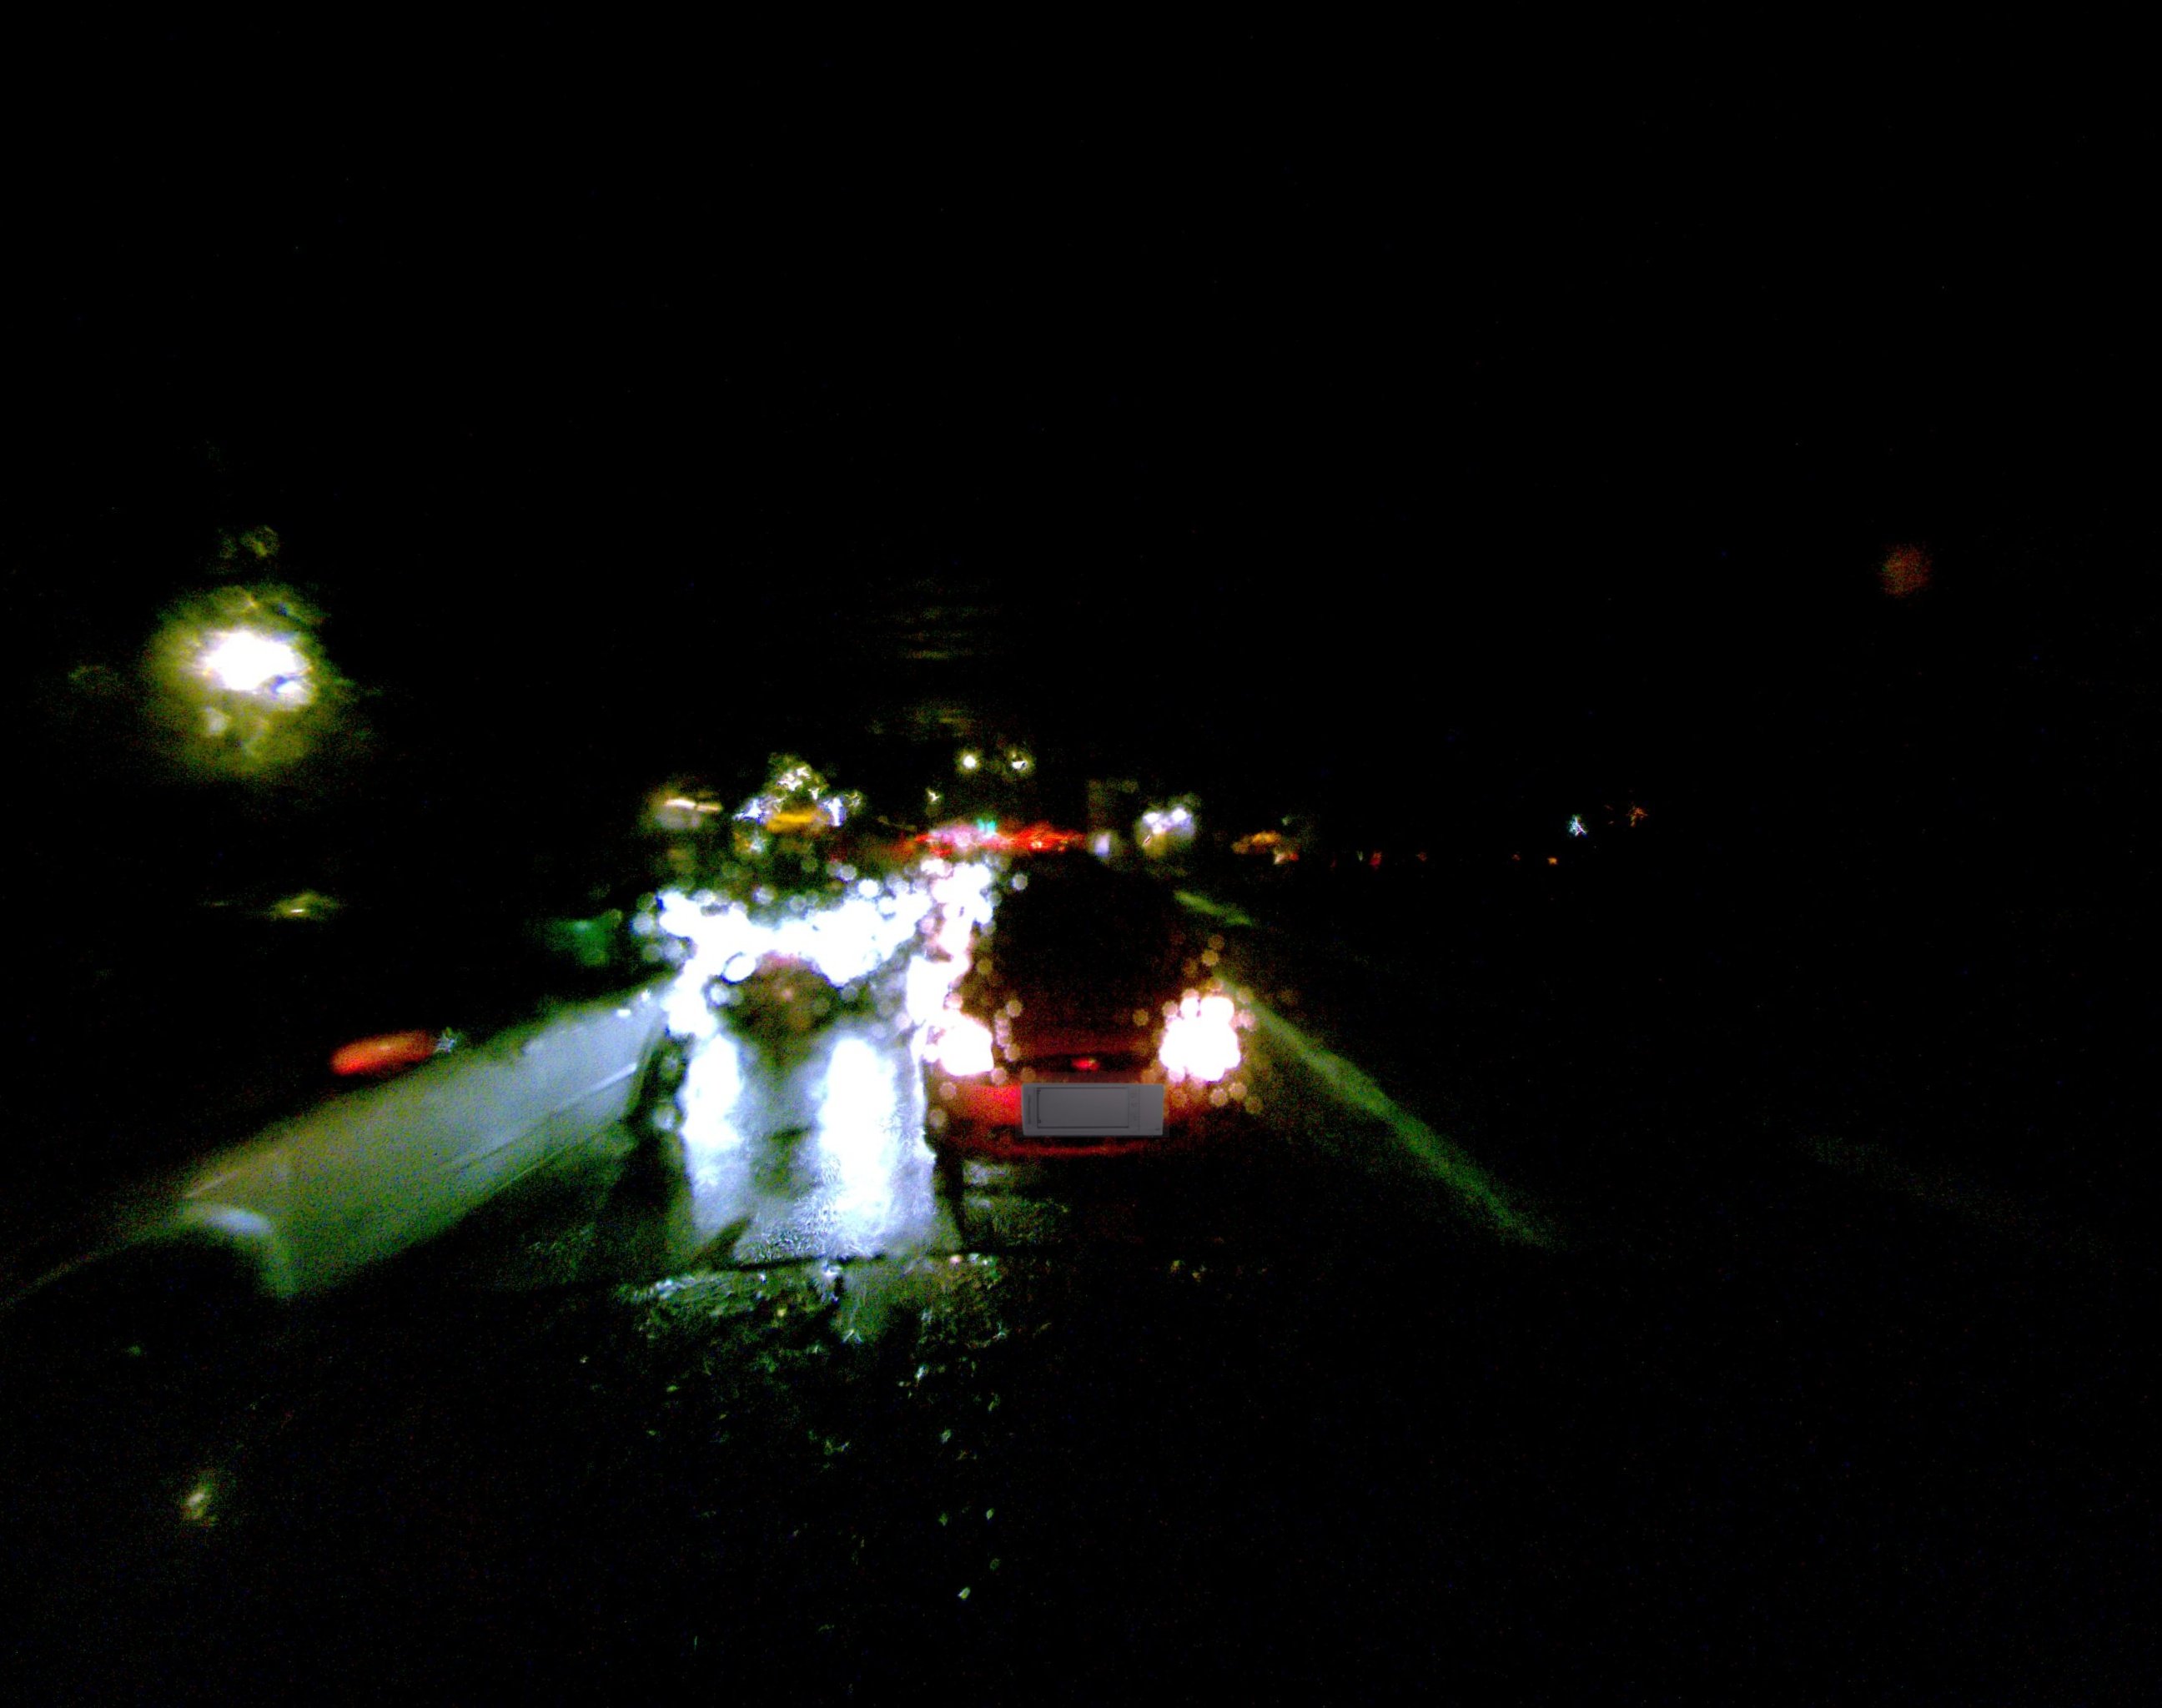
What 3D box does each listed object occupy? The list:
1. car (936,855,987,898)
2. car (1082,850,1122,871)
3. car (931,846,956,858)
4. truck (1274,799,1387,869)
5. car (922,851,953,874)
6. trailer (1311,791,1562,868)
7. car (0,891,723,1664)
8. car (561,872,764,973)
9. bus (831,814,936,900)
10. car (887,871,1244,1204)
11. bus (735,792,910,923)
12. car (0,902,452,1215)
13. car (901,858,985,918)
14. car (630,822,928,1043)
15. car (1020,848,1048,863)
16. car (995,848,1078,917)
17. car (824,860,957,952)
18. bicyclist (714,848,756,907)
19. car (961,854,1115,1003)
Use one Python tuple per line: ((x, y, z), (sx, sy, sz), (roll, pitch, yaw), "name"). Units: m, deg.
((-4.618, 0.807, 29.747), (1.683, 1.463, 3.997), (-2, 1, -6), "car")
((1.725, 0.538, 63.423), (2.002, 1.596, 3.993), (-3, 1, -19), "car")
((-18.296, -0.254, 101.105), (2.003, 1.510, 3.991), (-3, 1, -30), "car")
((16.092, -1.267, 49.541), (6.367, 4.152, 3.972), (-2, 1, 10), "truck")
((-10.950, 0.628, 57.711), (1.745, 1.581, 3.993), (-3, 1, -18), "car")
((22.291, -1.502, 48.632), (13.901, 4.152, 3.971), (-2, 1, 8), "trailer")
((-3.160, 1.000, 2.703), (1.792, 1.359, 3.999), (-2, 2, 0), "car")
((-7.169, 1.083, 13.489), (1.755, 1.422, 3.758), (-1, 0, -5), "car")
((-8.274, 0.138, 33.130), (2.777, 3.105, 9.757), (-2, 0, -5), "bus")
((-0.044, 0.901, 5.499), (1.603, 1.360, 3.942), (-2, 1, 1), "car")
((-7.397, 0.102, 23.418), (2.777, 3.105, 9.757), (-2, 0, -5), "bus")
((-6.477, 1.155, 4.796), (1.757, 1.382, 4.563), (-2, 0, -9), "car")
((-3.919, 0.916, 22.220), (1.629, 1.494, 3.999), (-2, 1, 1), "car")
((-3.367, 0.743, 9.568), (1.999, 2.076, 4.347), (-2, 1, -1), "car")
((-5.245, 0.162, 84.314), (1.825, 1.595, 4.136), (-3, 1, -21), "car")
((-1.111, 0.638, 19.694), (1.881, 1.534, 3.999), (-2, 1, -2), "car")
((-3.706, 0.939, 15.463), (1.869, 1.503, 3.765), (-2, 1, -3), "car")
((-10.778, 0.716, 23.703), (0.798, 1.752, 0.901), (-2, 1, 1), "bicyclist")
((-0.465, 0.844, 10.609), (1.683, 1.591, 3.996), (-2, 1, 1), "car")
